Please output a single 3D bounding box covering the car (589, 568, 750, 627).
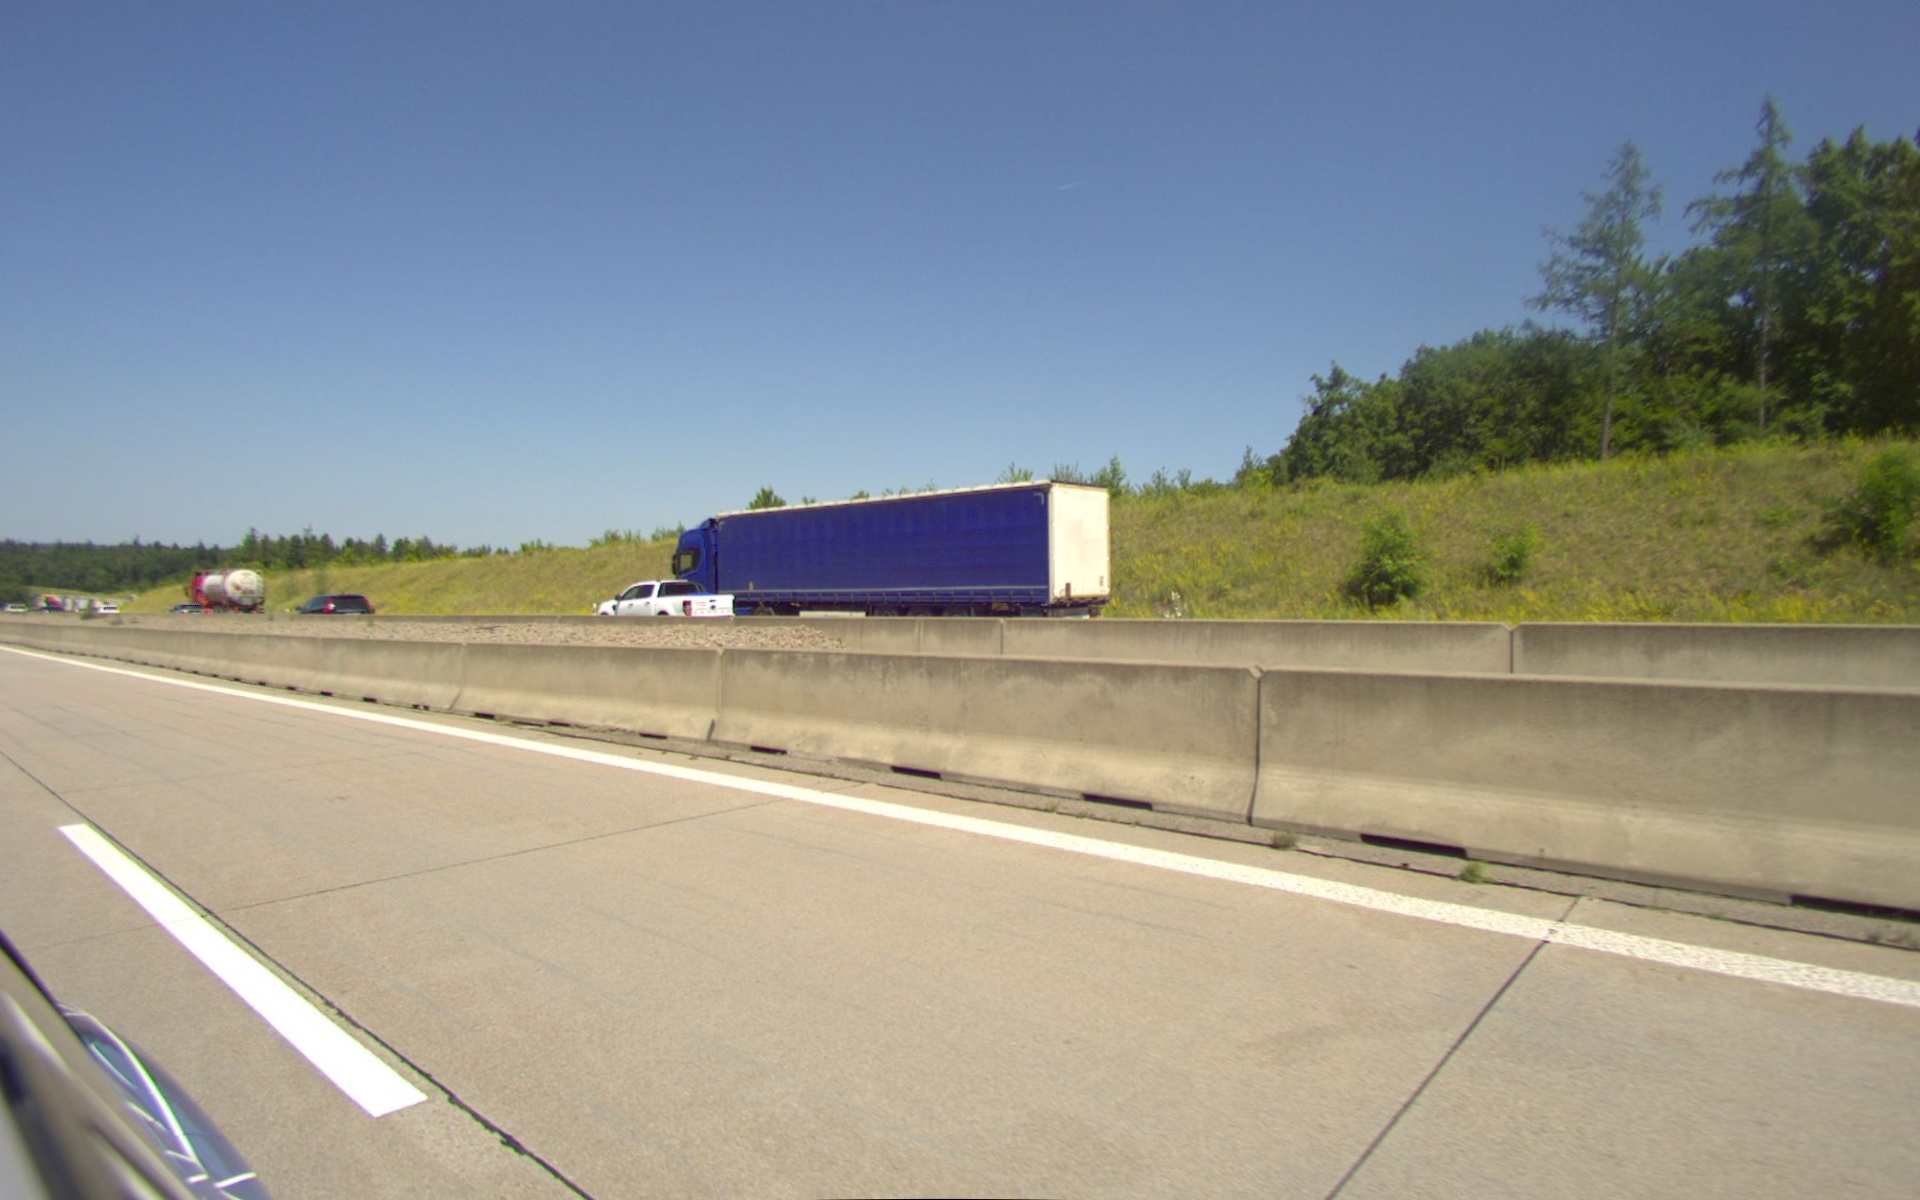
[{"bbox_3d":[-8.692,-0.053,29.963,5.517,1.595,1.972,-1,0,42],"label":"car"}]

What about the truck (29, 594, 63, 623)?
[{"bbox_3d":[-146.269,1.425,161.898,11.257,4.548,2.882,-1,-2,42],"label":"truck"}]

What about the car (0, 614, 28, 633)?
[{"bbox_3d":[-99.101,2.416,105.814,4.966,1.887,1.972,-1,0,42],"label":"car"}]

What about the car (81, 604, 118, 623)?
[{"bbox_3d":[-75.569,1.193,88.844,4.178,1.595,1.972,-1,0,42],"label":"car"}]

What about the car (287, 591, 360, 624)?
[{"bbox_3d":[-32.233,0.394,51.187,4.528,1.595,1.972,-1,0,42],"label":"car"}]

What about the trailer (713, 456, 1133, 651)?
[{"bbox_3d":[-1.774,-1.048,29.290,13.734,4.538,3.222,0,0,42],"label":"trailer"}]

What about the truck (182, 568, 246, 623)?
[{"bbox_3d":[-59.376,-0.325,80.496,5.980,4.200,2.903,-1,0,42],"label":"truck"}]

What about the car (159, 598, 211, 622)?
[{"bbox_3d":[-52.040,0.661,67.939,4.428,1.595,1.972,-1,0,42],"label":"car"}]

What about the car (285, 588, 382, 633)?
[{"bbox_3d":[-23.633,0.398,38.124,4.401,1.595,1.972,-1,0,42],"label":"car"}]

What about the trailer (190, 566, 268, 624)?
[{"bbox_3d":[-56.088,-0.353,77.565,9.331,4.200,2.902,-1,0,42],"label":"trailer"}]

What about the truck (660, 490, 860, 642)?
[{"bbox_3d":[-6.774,-1.006,33.746,6.572,4.538,3.222,-1,0,42],"label":"truck"}]
